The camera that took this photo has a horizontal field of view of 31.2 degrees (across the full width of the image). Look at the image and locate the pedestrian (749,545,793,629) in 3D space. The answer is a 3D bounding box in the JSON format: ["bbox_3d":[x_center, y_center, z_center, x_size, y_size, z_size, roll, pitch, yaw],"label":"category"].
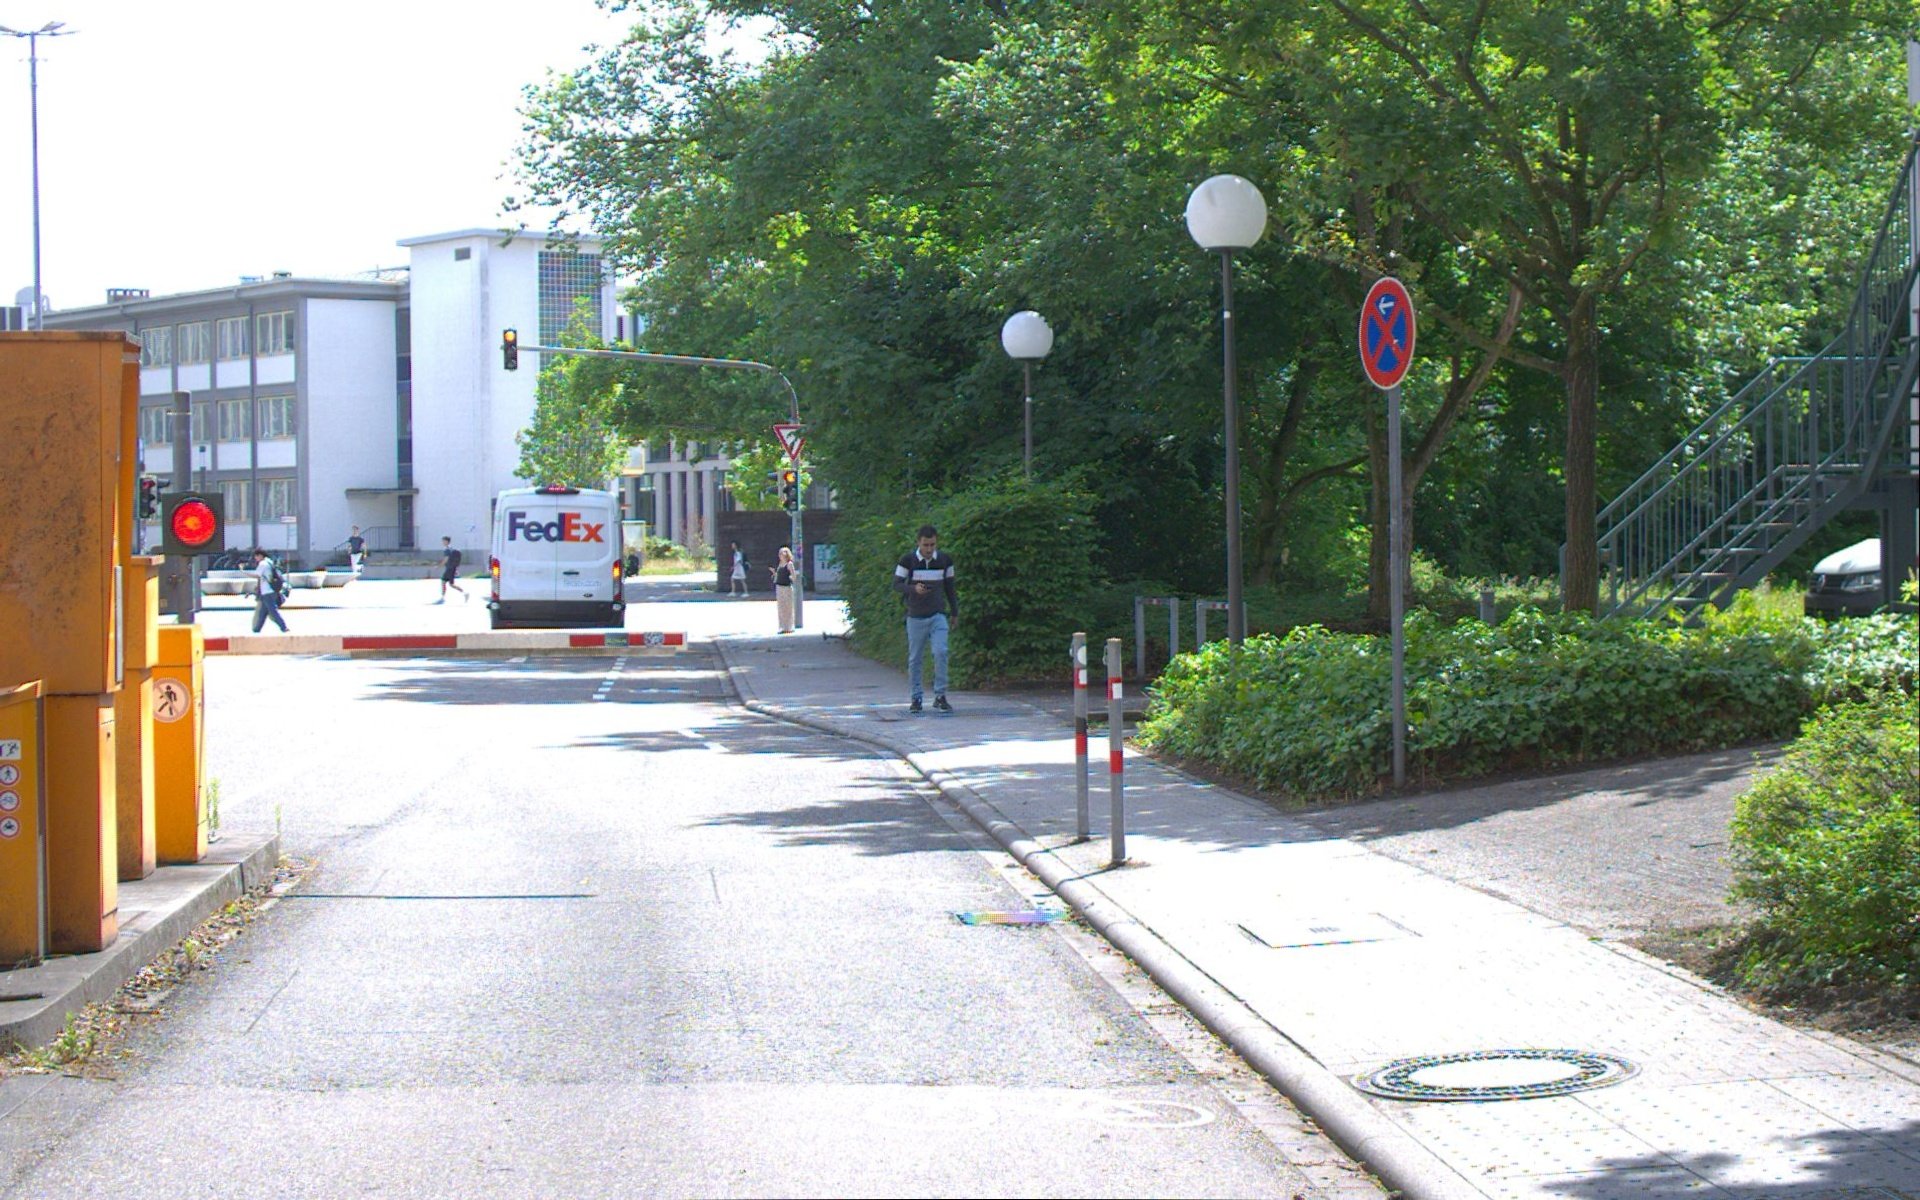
[{"bbox_3d":[-3.592,-0.252,65.232,0.731,1.570,0.776,0,1,-9],"label":"pedestrian"}]

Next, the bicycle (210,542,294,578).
[{"bbox_3d":[-26.803,-1.511,130.119,2.957,1.359,1.116,-1,1,-42],"label":"bicycle"}]

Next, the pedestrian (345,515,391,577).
[{"bbox_3d":[-19.321,-1.771,112.249,1.140,2.007,1.155,0,1,9],"label":"pedestrian"}]

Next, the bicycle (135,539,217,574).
[{"bbox_3d":[-30.633,-1.717,134.385,2.957,1.359,1.116,-1,1,-42],"label":"bicycle"}]

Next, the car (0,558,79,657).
[{"bbox_3d":[-14.767,0.082,52.570,1.676,1.390,4.663,1,1,-4],"label":"car"}]

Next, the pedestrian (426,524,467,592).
[{"bbox_3d":[-14.406,-1.185,96.484,1.080,1.864,0.832,-1,1,-6],"label":"pedestrian"}]

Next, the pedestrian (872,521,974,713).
[{"bbox_3d":[-0.335,0.136,30.660,0.739,1.669,1.257,-1,1,-8],"label":"pedestrian"}]

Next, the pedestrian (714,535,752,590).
[{"bbox_3d":[-6.405,-1.061,97.144,0.824,1.518,0.815,-1,1,-24],"label":"pedestrian"}]

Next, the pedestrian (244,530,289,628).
[{"bbox_3d":[-13.270,-0.411,65.766,0.719,1.853,0.770,-1,1,-3],"label":"pedestrian"}]

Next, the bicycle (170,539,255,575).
[{"bbox_3d":[-28.784,-1.649,132.340,2.957,1.359,1.275,-1,1,-42],"label":"bicycle"}]

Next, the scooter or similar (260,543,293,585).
[{"bbox_3d":[-19.509,-1.046,98.138,0.716,1.174,2.726,-1,1,-15],"label":"scooter or similar"}]

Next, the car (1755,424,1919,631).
[{"bbox_3d":[10.755,-0.764,34.864,4.824,2.007,2.062,-1,1,-4],"label":"car"}]

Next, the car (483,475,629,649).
[{"bbox_3d":[-6.273,-0.631,53.915,2.095,2.558,5.603,-1,1,-5],"label":"car"}]
